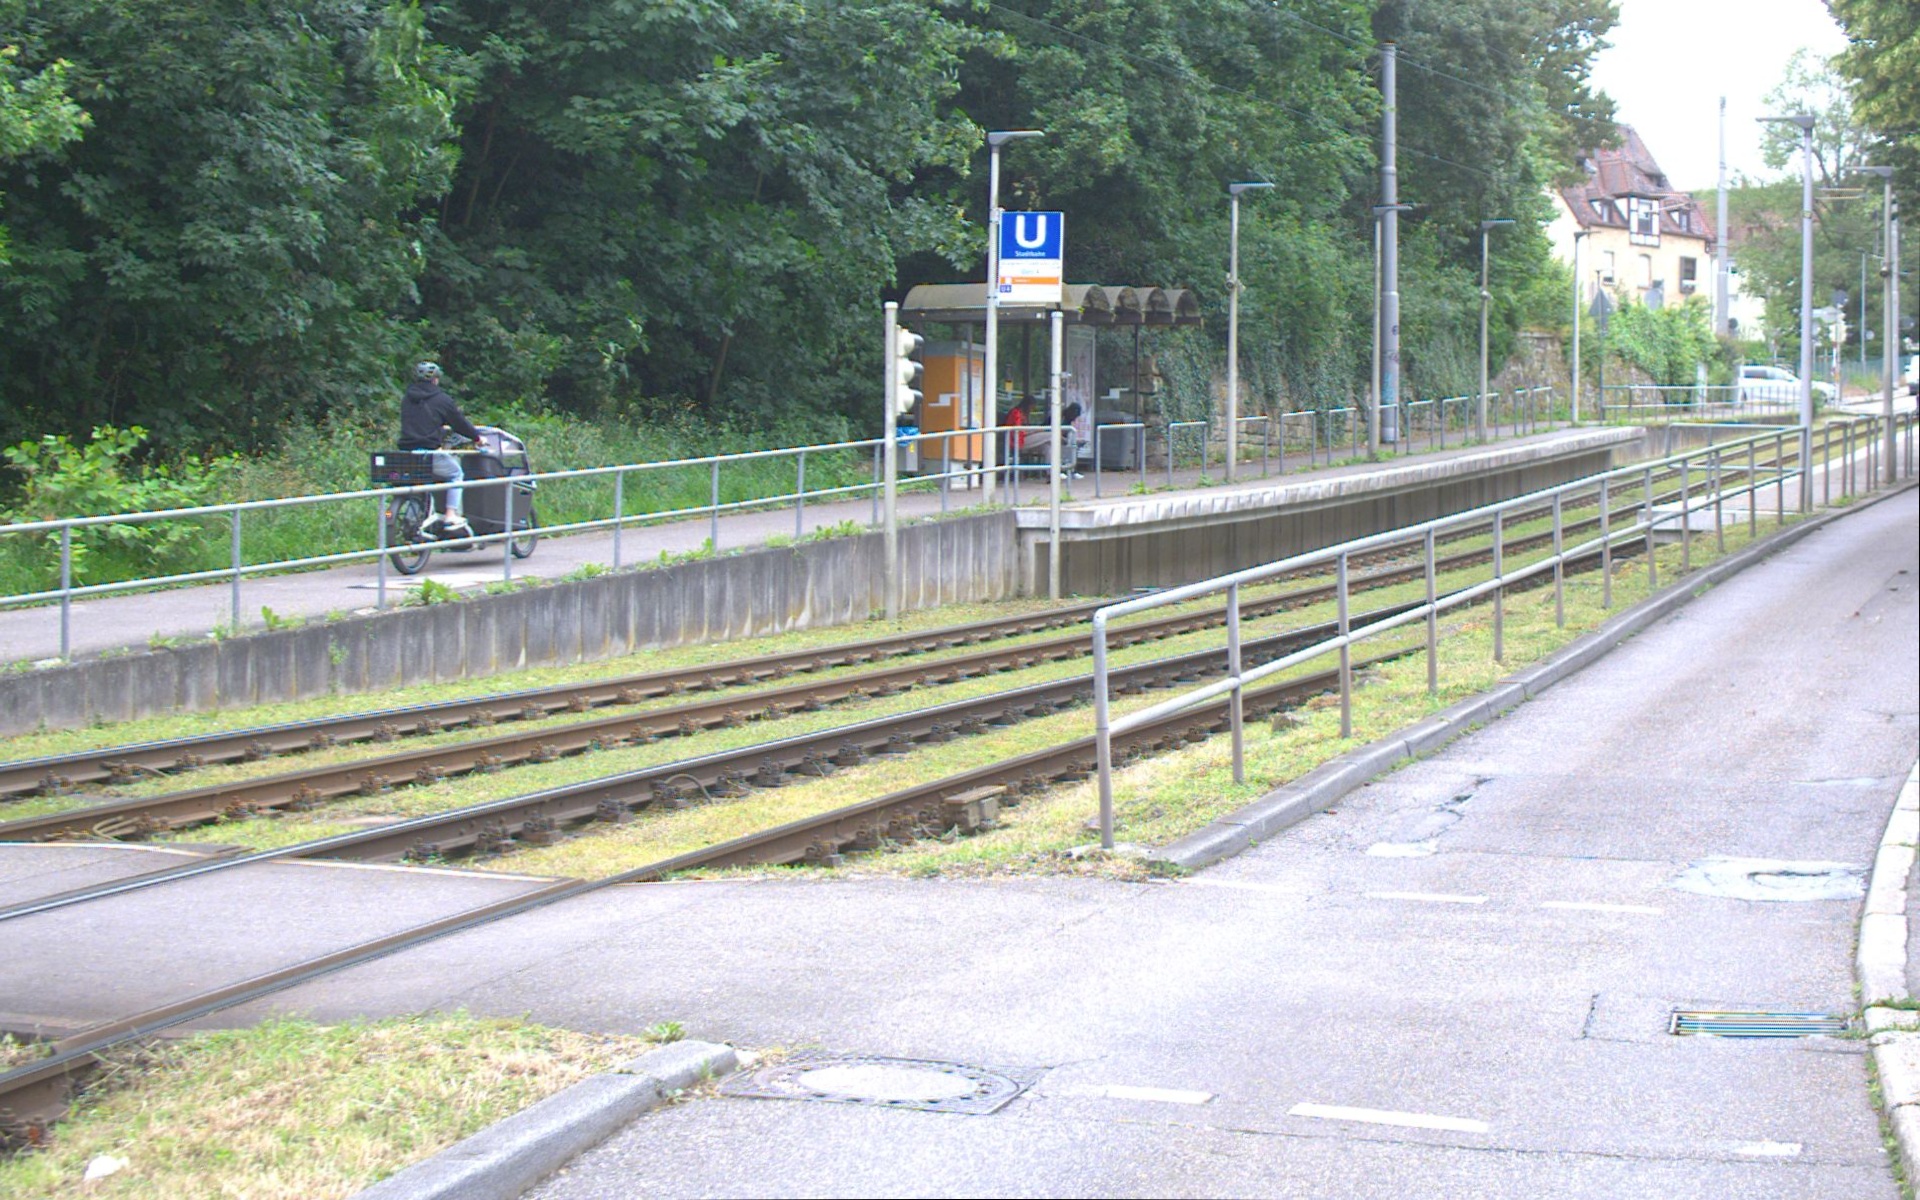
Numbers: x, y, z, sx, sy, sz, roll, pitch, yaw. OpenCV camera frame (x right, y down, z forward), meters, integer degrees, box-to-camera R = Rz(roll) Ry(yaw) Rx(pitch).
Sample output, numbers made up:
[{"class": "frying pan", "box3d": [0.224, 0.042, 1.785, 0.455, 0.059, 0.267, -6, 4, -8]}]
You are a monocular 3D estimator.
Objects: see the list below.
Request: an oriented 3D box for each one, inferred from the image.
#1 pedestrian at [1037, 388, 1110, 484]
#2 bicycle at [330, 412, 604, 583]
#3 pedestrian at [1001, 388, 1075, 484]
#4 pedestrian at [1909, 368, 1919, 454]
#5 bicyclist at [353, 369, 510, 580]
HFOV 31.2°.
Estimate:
[{"class": "pedestrian", "box3d": [1.643, -2.364, 49.625, 0.772, 1.321, 0.786, 4, 2, 20]}, {"class": "bicycle", "box3d": [-4.234, -0.933, 29.907, 0.734, 1.284, 3.343, 4, 6, 23]}, {"class": "pedestrian", "box3d": [1.105, -2.324, 48.593, 0.772, 1.321, 0.786, 4, 4, 20]}, {"class": "pedestrian", "box3d": [16.286, -3.142, 57.343, 0.743, 1.404, 0.746, 4, 6, 20]}, {"class": "bicyclist", "box3d": [-4.492, -1.086, 29.279, 0.734, 1.705, 1.291, 4, 6, 23]}]
